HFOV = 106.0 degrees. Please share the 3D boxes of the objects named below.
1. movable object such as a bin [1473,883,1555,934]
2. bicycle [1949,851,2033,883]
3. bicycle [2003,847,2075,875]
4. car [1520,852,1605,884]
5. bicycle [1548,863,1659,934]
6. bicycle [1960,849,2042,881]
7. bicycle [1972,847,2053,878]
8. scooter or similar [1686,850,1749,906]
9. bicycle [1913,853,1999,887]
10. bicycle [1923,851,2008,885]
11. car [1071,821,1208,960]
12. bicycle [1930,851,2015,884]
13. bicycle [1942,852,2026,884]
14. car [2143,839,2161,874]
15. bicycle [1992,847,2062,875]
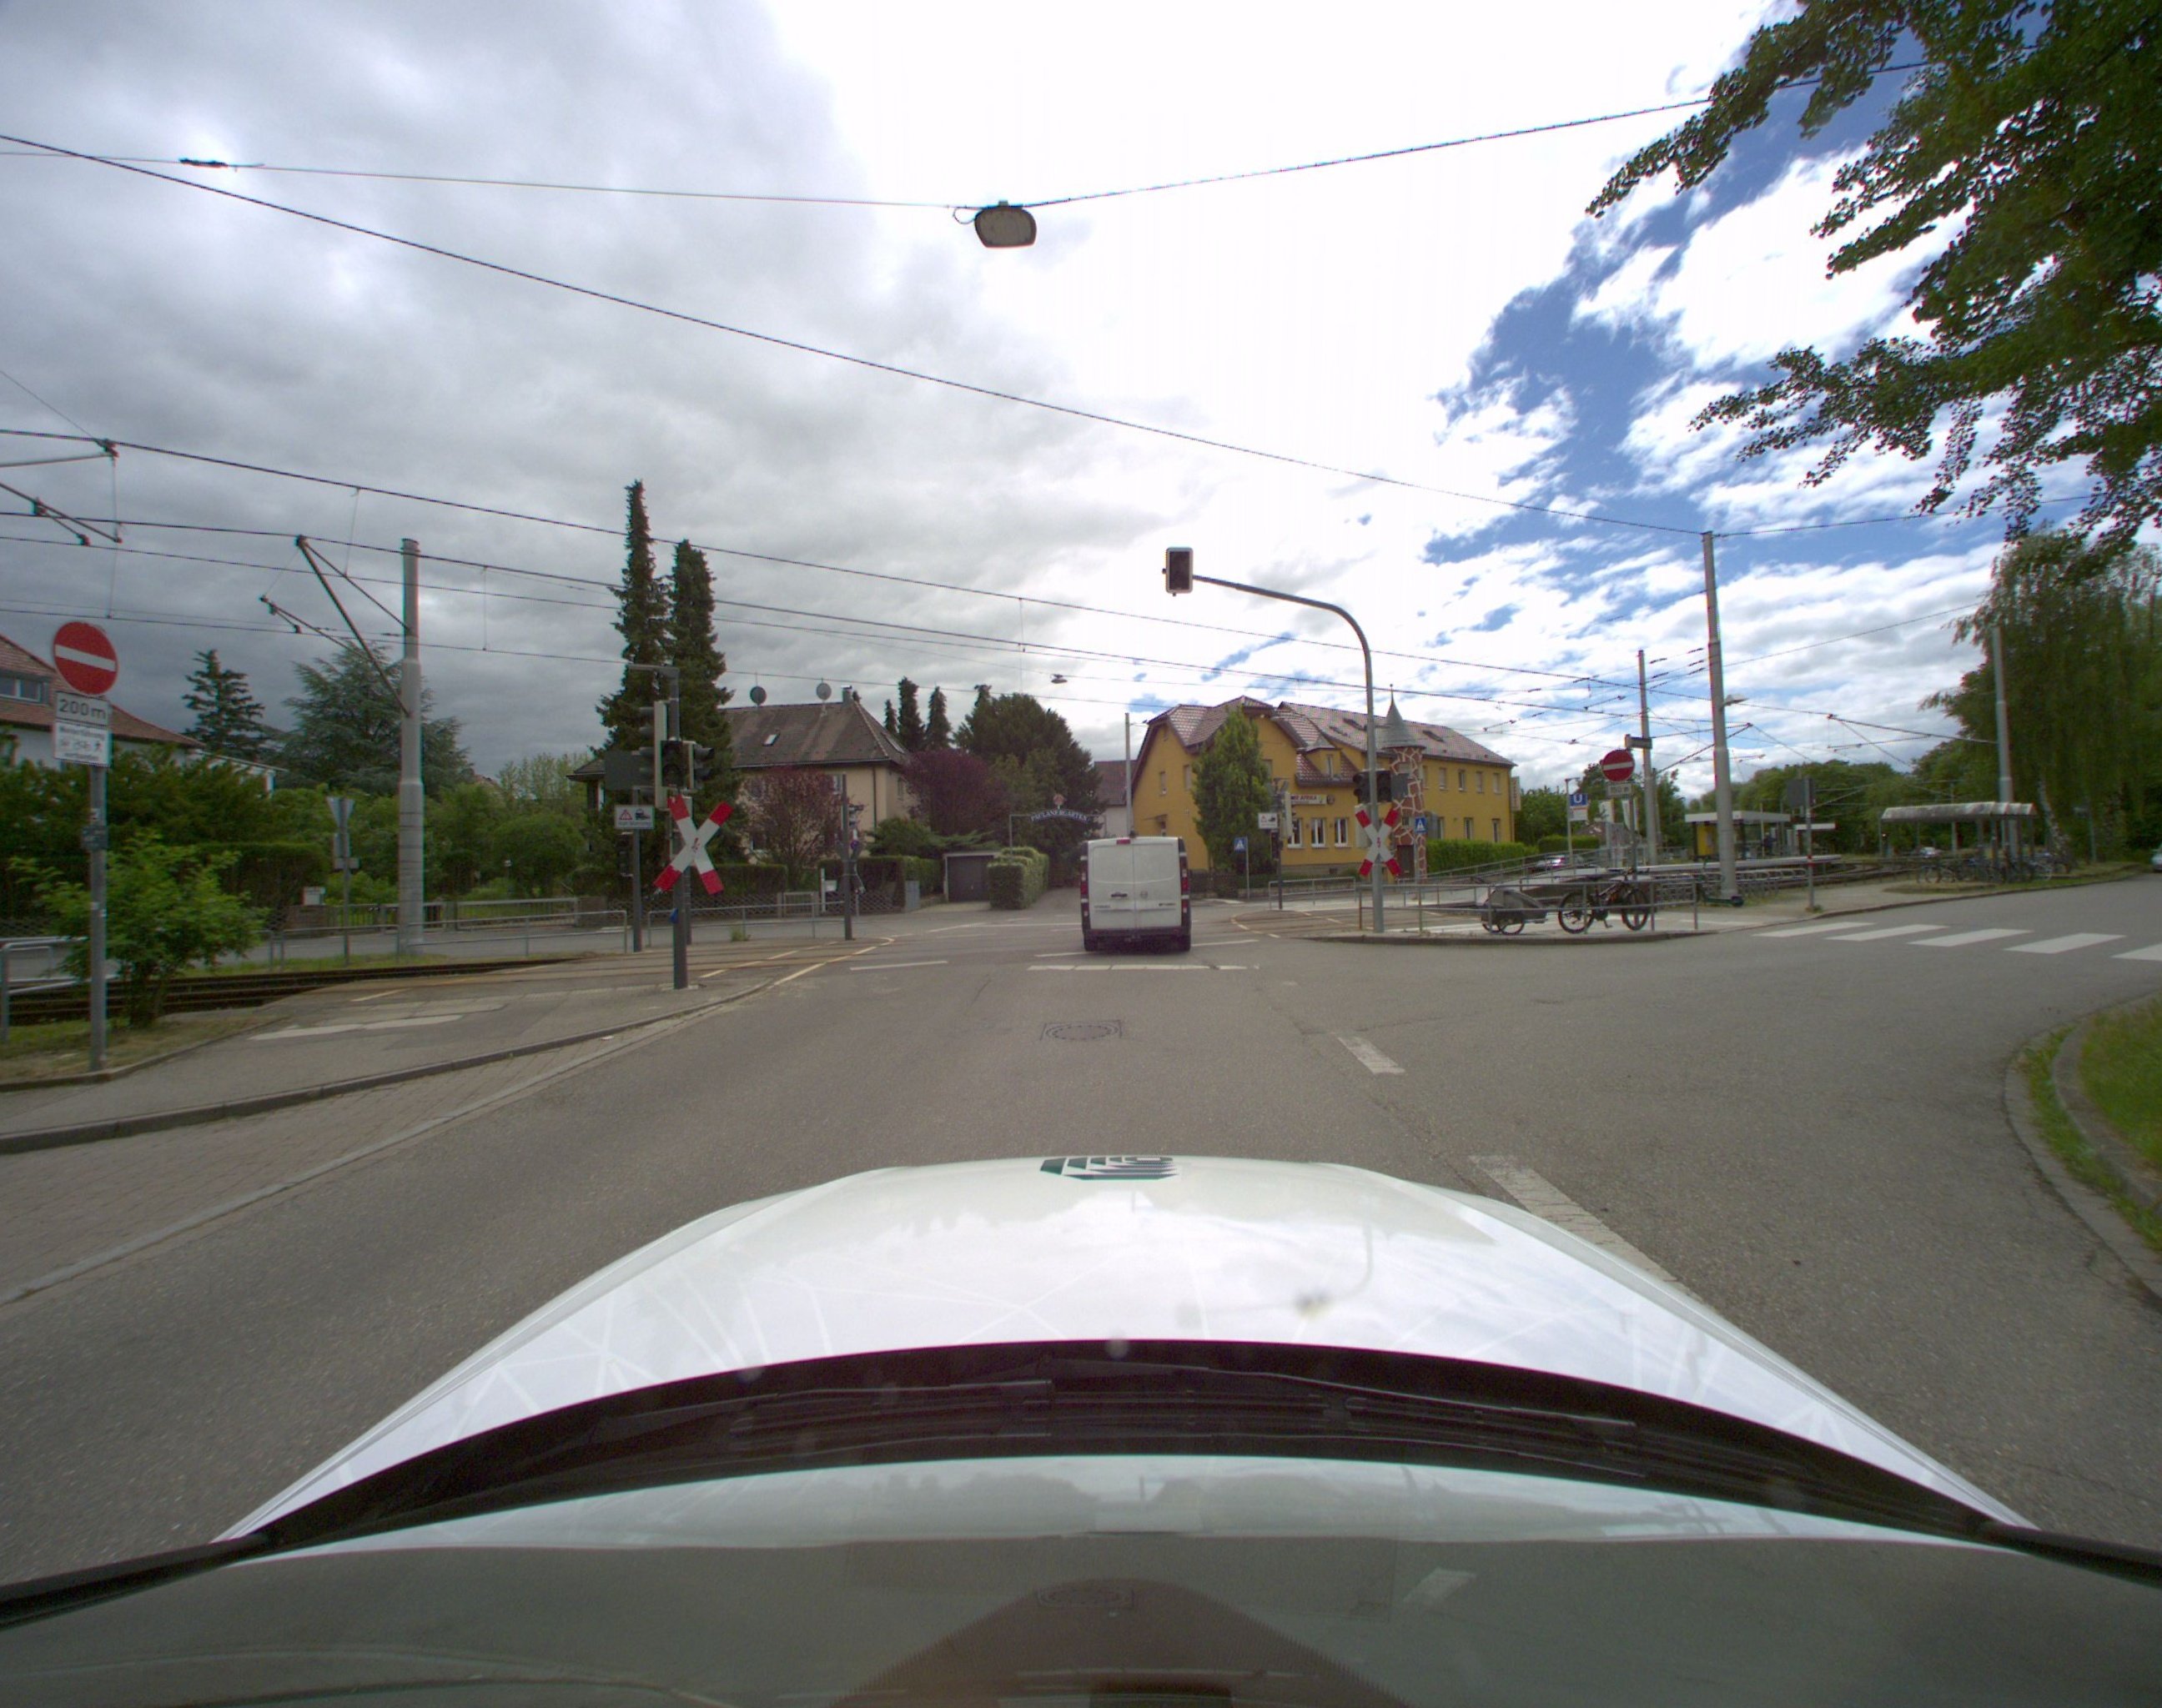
[{"bbox_3d":[7.530,0.942,14.188,1.089,0.824,0.579,-1,-1,-4],"label":"movable object such as a bin"},{"bbox_3d":[30.543,0.451,27.361,0.558,1.042,1.754,-1,-2,-29],"label":"bicycle"},{"bbox_3d":[36.943,0.272,31.426,0.560,1.042,1.750,0,-2,-38],"label":"bicycle"},{"bbox_3d":[25.396,0.722,42.899,4.392,1.564,2.337,0,-1,-36],"label":"car"},{"bbox_3d":[9.106,0.763,14.215,1.685,1.156,0.465,-2,-1,-8],"label":"bicycle"},{"bbox_3d":[31.344,0.391,27.776,0.558,1.042,1.754,-1,-2,-29],"label":"bicycle"},{"bbox_3d":[32.694,0.327,28.618,0.558,1.042,1.754,-1,-2,-29],"label":"bicycle"},{"bbox_3d":[15.789,0.598,20.219,0.491,1.316,1.041,-2,-1,-28],"label":"scooter or similar"},{"bbox_3d":[27.727,0.508,25.841,0.558,1.042,1.754,-1,-2,-29],"label":"bicycle"},{"bbox_3d":[28.514,0.471,26.290,0.558,1.042,1.754,-1,-2,-29],"label":"bicycle"},{"bbox_3d":[0.894,0.608,15.552,2.110,2.134,5.438,-1,-1,-1],"label":"car"},{"bbox_3d":[29.141,0.458,26.646,0.558,1.042,1.754,-1,-2,-29],"label":"bicycle"},{"bbox_3d":[29.923,0.471,27.006,0.558,1.042,1.754,-1,-2,-29],"label":"bicycle"},{"bbox_3d":[50.700,0.063,37.459,4.279,1.574,2.047,-1,-2,-36],"label":"car"},{"bbox_3d":[37.353,0.271,32.169,0.560,1.042,1.750,0,-2,-39],"label":"bicycle"}]
